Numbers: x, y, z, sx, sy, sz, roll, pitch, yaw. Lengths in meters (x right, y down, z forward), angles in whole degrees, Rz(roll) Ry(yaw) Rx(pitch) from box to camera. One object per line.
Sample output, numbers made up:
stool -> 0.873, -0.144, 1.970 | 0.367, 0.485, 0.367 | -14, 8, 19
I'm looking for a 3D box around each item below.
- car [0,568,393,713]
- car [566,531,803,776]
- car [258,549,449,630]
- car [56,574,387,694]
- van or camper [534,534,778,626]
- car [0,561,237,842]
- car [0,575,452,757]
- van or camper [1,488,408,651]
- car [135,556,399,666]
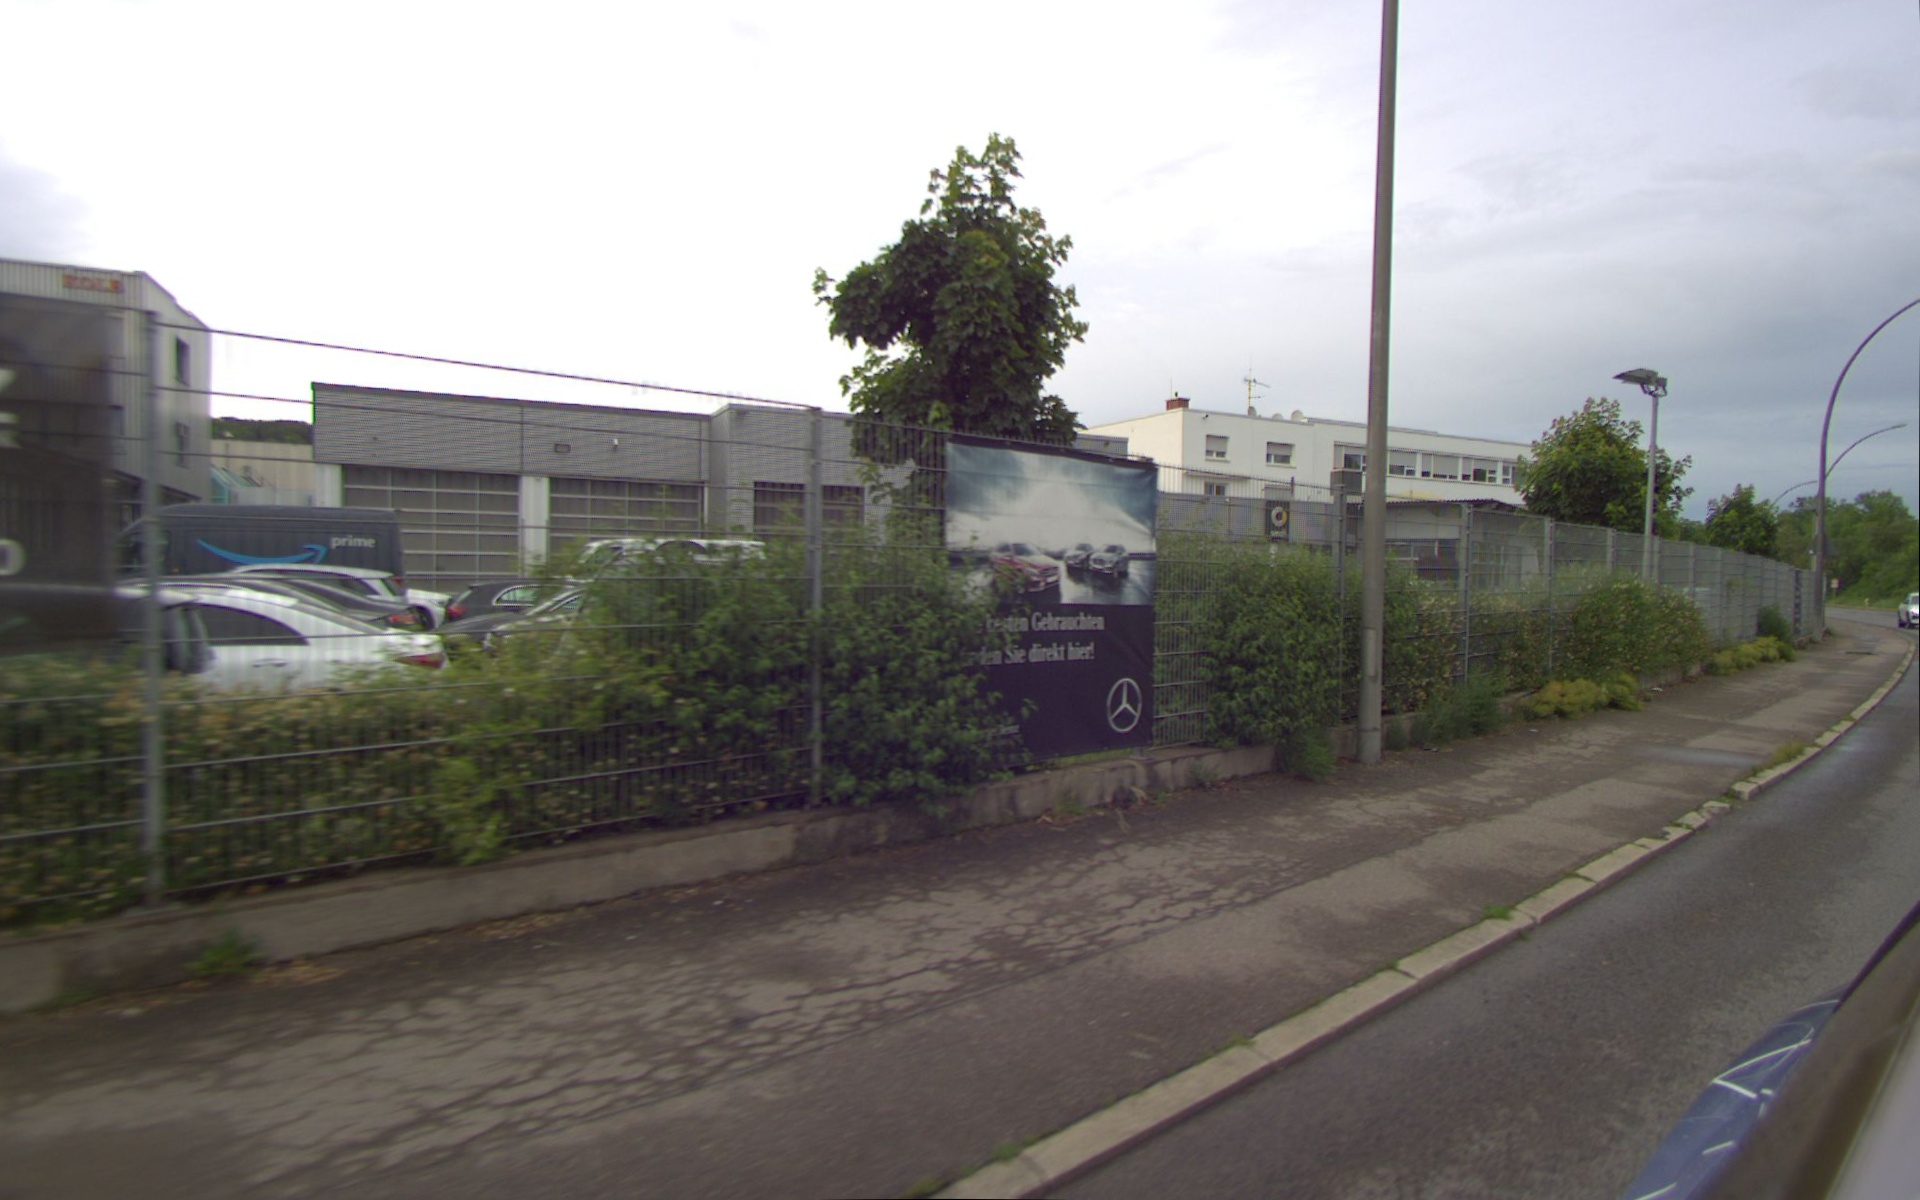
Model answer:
car -> -8.230, 0.372, 11.239 | 3.328, 1.374, 1.645 | 0, 2, -31
car -> -2.522, 0.359, 9.862 | 1.737, 1.861, 4.125 | 1, 2, -11
car -> -12.704, -0.225, 21.350 | 3.328, 1.591, 1.645 | 0, 1, -31
car -> -9.453, 0.379, 13.282 | 3.328, 1.374, 1.645 | 0, 2, -31
van or camper -> -7.273, -0.510, 24.326 | 5.321, 1.962, 2.003 | -2, 0, -27
car -> -5.760, 0.461, 5.073 | 3.328, 1.332, 1.645 | 0, 2, -31
car -> -6.063, 0.443, 8.236 | 3.328, 1.225, 1.645 | 0, 2, -31
van or camper -> -13.269, -0.507, 18.407 | 5.624, 2.589, 2.344 | 0, 1, -29
car -> -10.924, 0.141, 16.218 | 3.328, 1.591, 1.645 | 0, 1, -31
